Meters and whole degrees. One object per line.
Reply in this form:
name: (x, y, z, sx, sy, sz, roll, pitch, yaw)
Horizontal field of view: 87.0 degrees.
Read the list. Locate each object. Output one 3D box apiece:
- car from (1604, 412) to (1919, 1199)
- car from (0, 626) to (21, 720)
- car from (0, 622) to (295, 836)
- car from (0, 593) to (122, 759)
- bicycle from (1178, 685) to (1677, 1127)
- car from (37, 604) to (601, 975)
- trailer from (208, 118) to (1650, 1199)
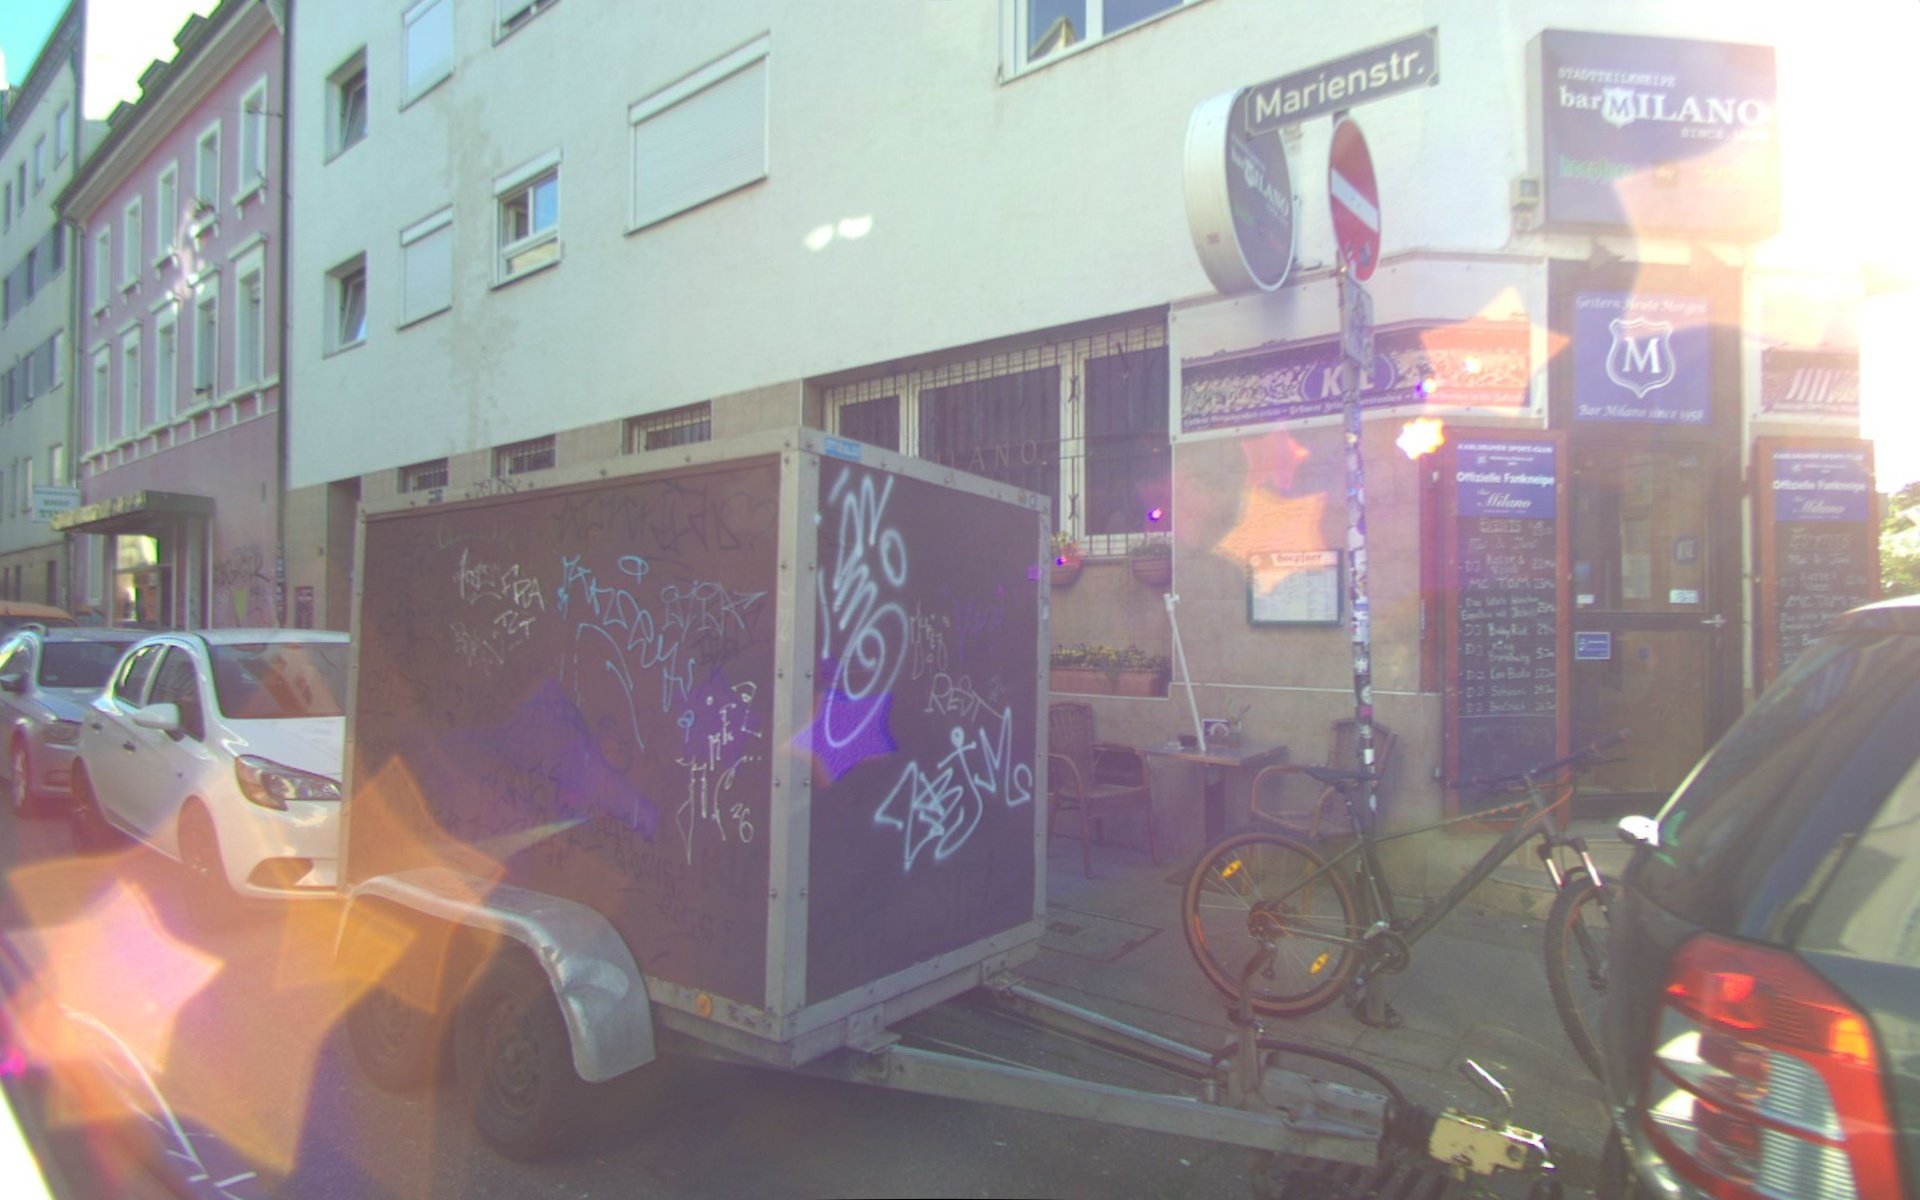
car: (2.864, 0.625, 0.518, 4.158, 1.618, 1.706, -2, -3, 37)
car: (-17.019, 1.161, 16.675, 3.655, 1.477, 1.667, -1, -2, 38)
car: (-7.936, 0.979, 9.283, 4.524, 1.508, 1.657, -1, -3, 38)
car: (-12.351, 0.874, 12.810, 4.238, 1.859, 1.785, -1, -2, 38)
bicycle: (1.554, 0.916, 3.491, 1.457, 1.147, 0.571, -1, 0, 33)
car: (-4.026, 0.852, 6.144, 3.812, 1.566, 1.661, -1, -3, 38)
trailer: (-0.502, 0.494, 3.153, 4.354, 2.077, 1.647, -1, -3, 36)
